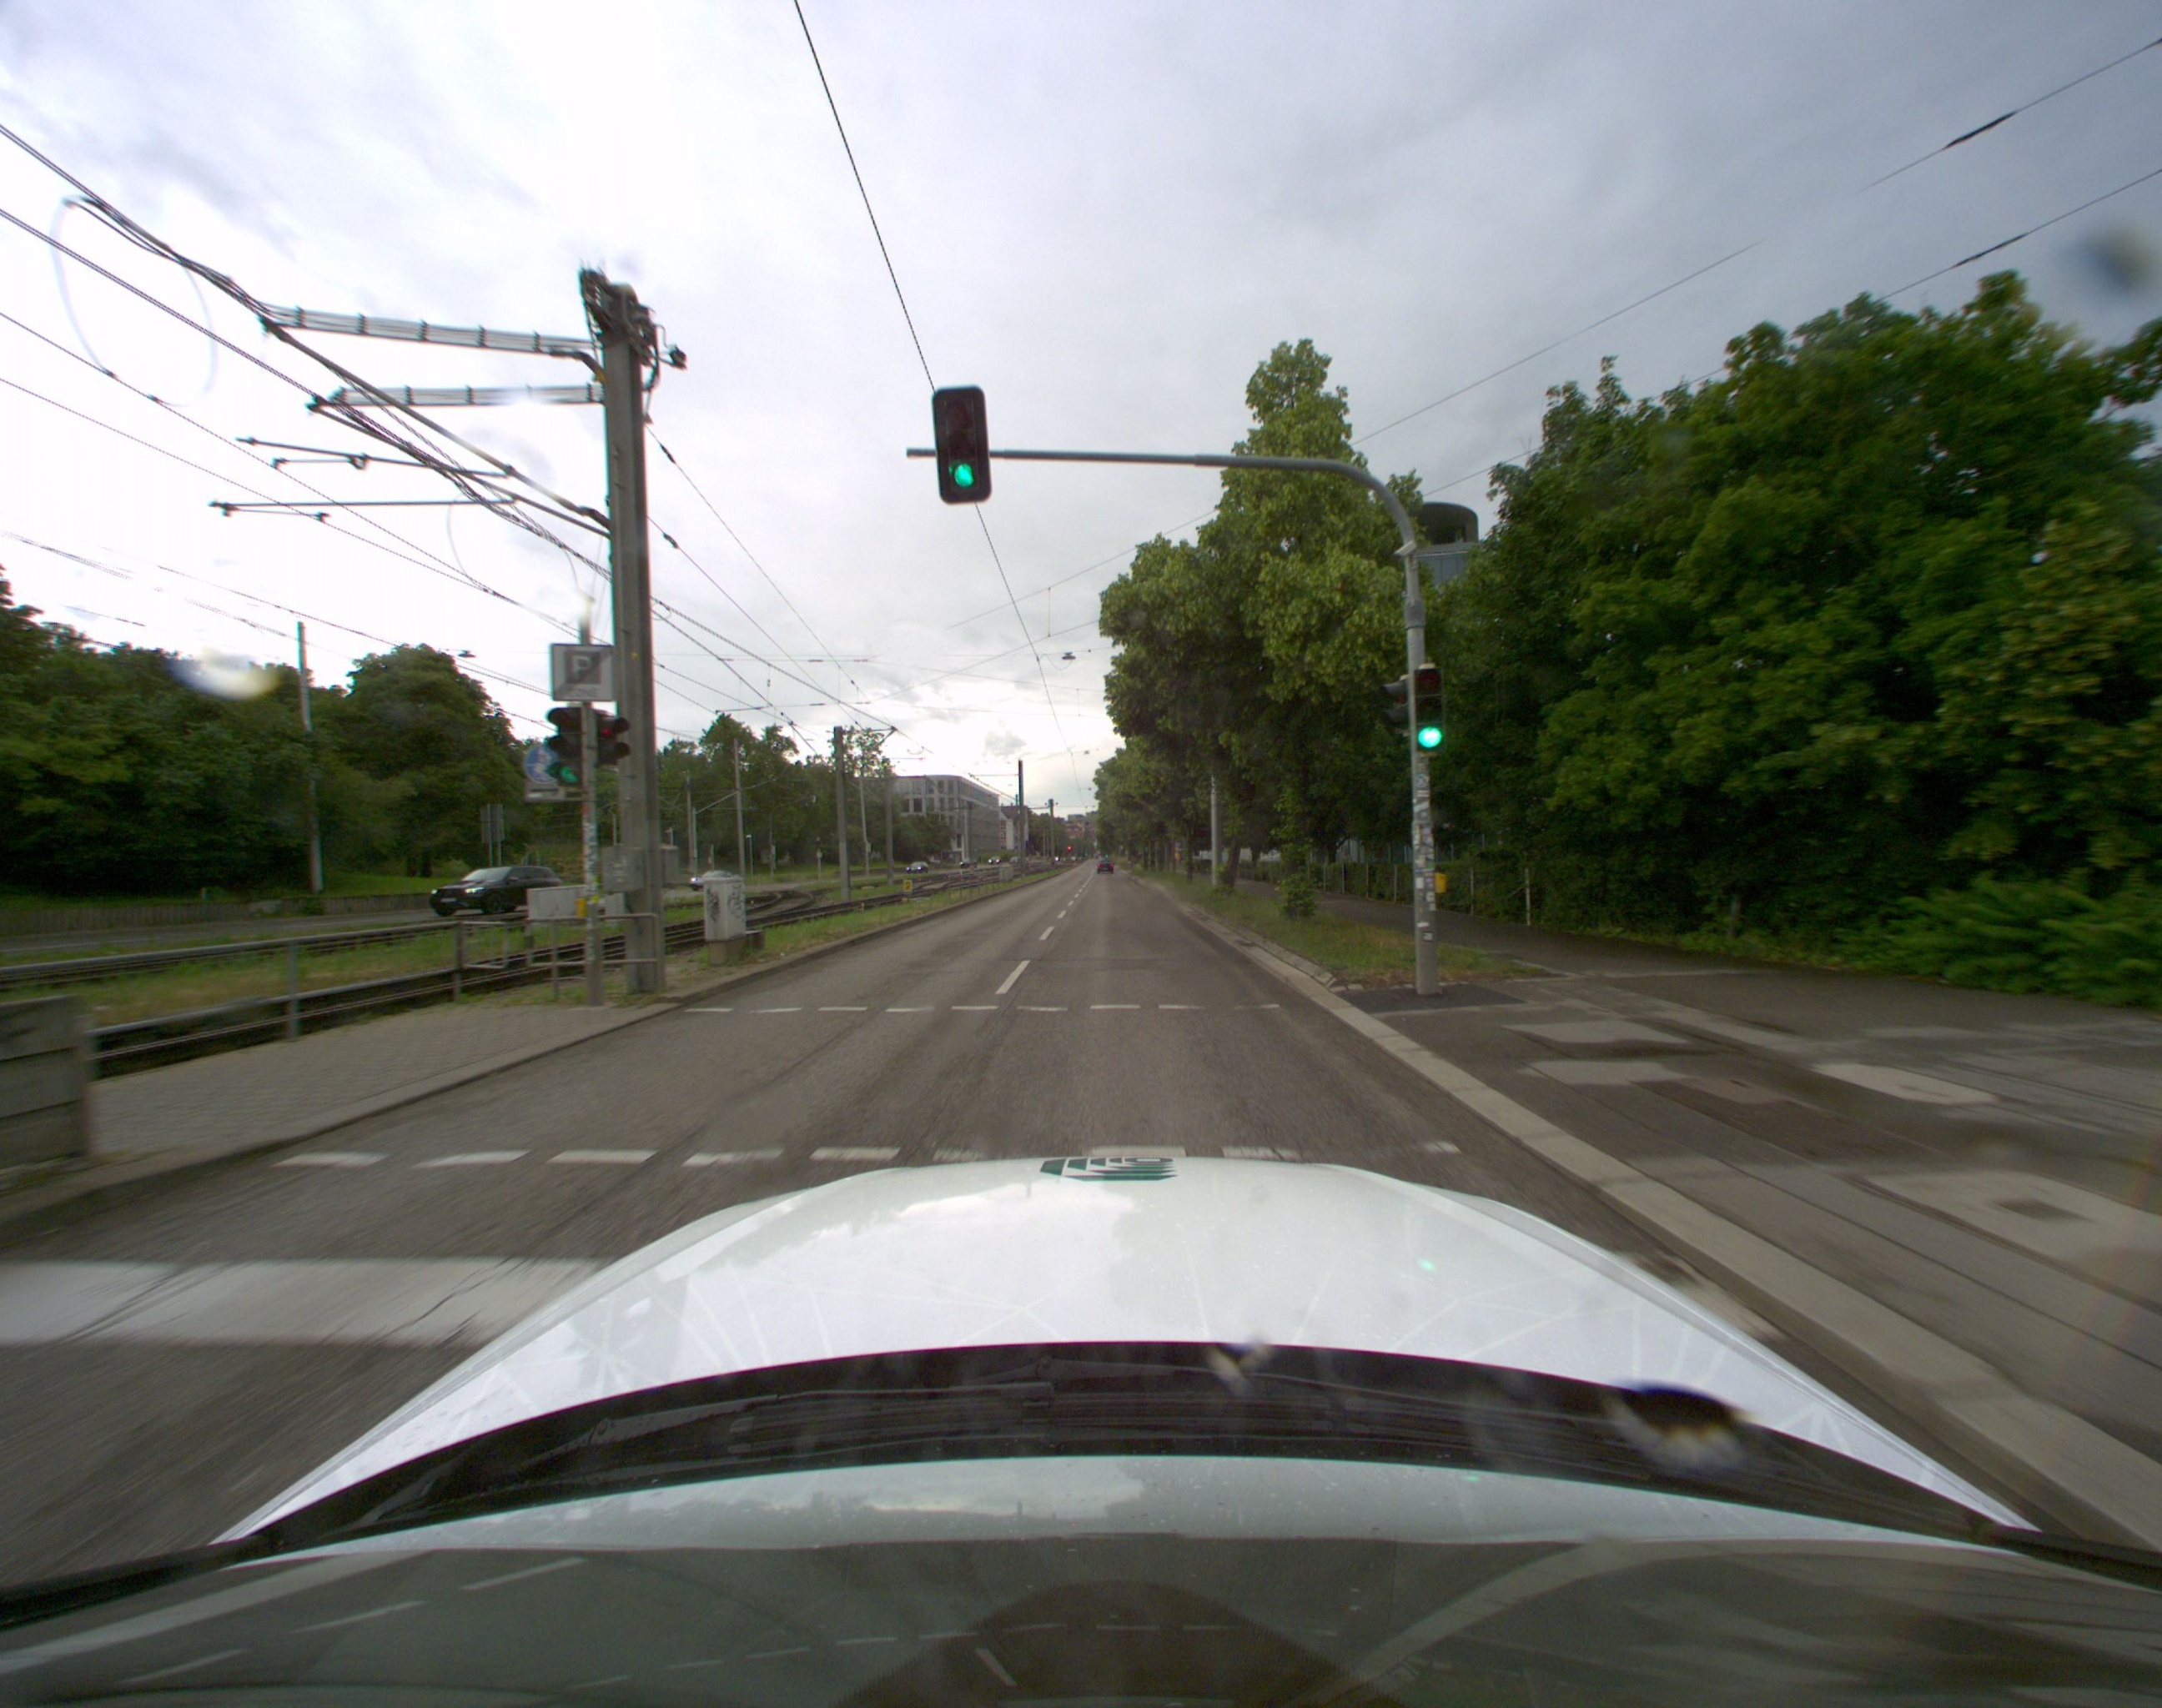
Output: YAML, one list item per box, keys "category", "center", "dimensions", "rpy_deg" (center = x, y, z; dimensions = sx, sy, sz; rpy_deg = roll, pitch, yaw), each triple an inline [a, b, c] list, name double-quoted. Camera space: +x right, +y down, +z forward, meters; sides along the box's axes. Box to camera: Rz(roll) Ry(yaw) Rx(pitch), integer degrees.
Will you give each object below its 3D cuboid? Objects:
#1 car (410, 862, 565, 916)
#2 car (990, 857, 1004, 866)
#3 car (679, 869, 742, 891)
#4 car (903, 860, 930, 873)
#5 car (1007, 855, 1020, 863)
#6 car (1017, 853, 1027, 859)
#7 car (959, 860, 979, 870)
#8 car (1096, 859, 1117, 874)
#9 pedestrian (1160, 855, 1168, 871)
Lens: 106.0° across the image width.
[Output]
- category: "car"
  center: [-21.829, 1.221, 30.256]
  dimensions: [2.076, 1.739, 4.863]
  rpy_deg: [-2, 0, 1]
- category: "car"
  center: [-16.096, 1.400, 155.519]
  dimensions: [1.940, 1.595, 4.850]
  rpy_deg: [-2, 0, 3]
- category: "car"
  center: [-23.737, 1.646, 52.407]
  dimensions: [1.920, 1.262, 4.475]
  rpy_deg: [-2, 0, 1]
- category: "car"
  center: [-20.315, 1.490, 100.732]
  dimensions: [1.917, 1.447, 4.690]
  rpy_deg: [-2, 0, 6]
- category: "car"
  center: [-13.455, 0.908, 161.613]
  dimensions: [1.882, 1.486, 4.313]
  rpy_deg: [-2, 0, 4]
- category: "car"
  center: [-14.242, 0.523, 196.635]
  dimensions: [1.753, 1.397, 3.905]
  rpy_deg: [-2, 0, 4]
- category: "car"
  center: [-17.788, 1.727, 129.418]
  dimensions: [2.080, 1.589, 5.164]
  rpy_deg: [-2, 0, 4]
- category: "car"
  center: [2.626, 1.240, 83.770]
  dimensions: [1.975, 1.440, 4.476]
  rpy_deg: [-2, 0, 2]
- category: "pedestrian"
  center: [9.343, 1.022, 91.253]
  dimensions: [0.822, 1.797, 0.868]
  rpy_deg: [0, -1, 2]
